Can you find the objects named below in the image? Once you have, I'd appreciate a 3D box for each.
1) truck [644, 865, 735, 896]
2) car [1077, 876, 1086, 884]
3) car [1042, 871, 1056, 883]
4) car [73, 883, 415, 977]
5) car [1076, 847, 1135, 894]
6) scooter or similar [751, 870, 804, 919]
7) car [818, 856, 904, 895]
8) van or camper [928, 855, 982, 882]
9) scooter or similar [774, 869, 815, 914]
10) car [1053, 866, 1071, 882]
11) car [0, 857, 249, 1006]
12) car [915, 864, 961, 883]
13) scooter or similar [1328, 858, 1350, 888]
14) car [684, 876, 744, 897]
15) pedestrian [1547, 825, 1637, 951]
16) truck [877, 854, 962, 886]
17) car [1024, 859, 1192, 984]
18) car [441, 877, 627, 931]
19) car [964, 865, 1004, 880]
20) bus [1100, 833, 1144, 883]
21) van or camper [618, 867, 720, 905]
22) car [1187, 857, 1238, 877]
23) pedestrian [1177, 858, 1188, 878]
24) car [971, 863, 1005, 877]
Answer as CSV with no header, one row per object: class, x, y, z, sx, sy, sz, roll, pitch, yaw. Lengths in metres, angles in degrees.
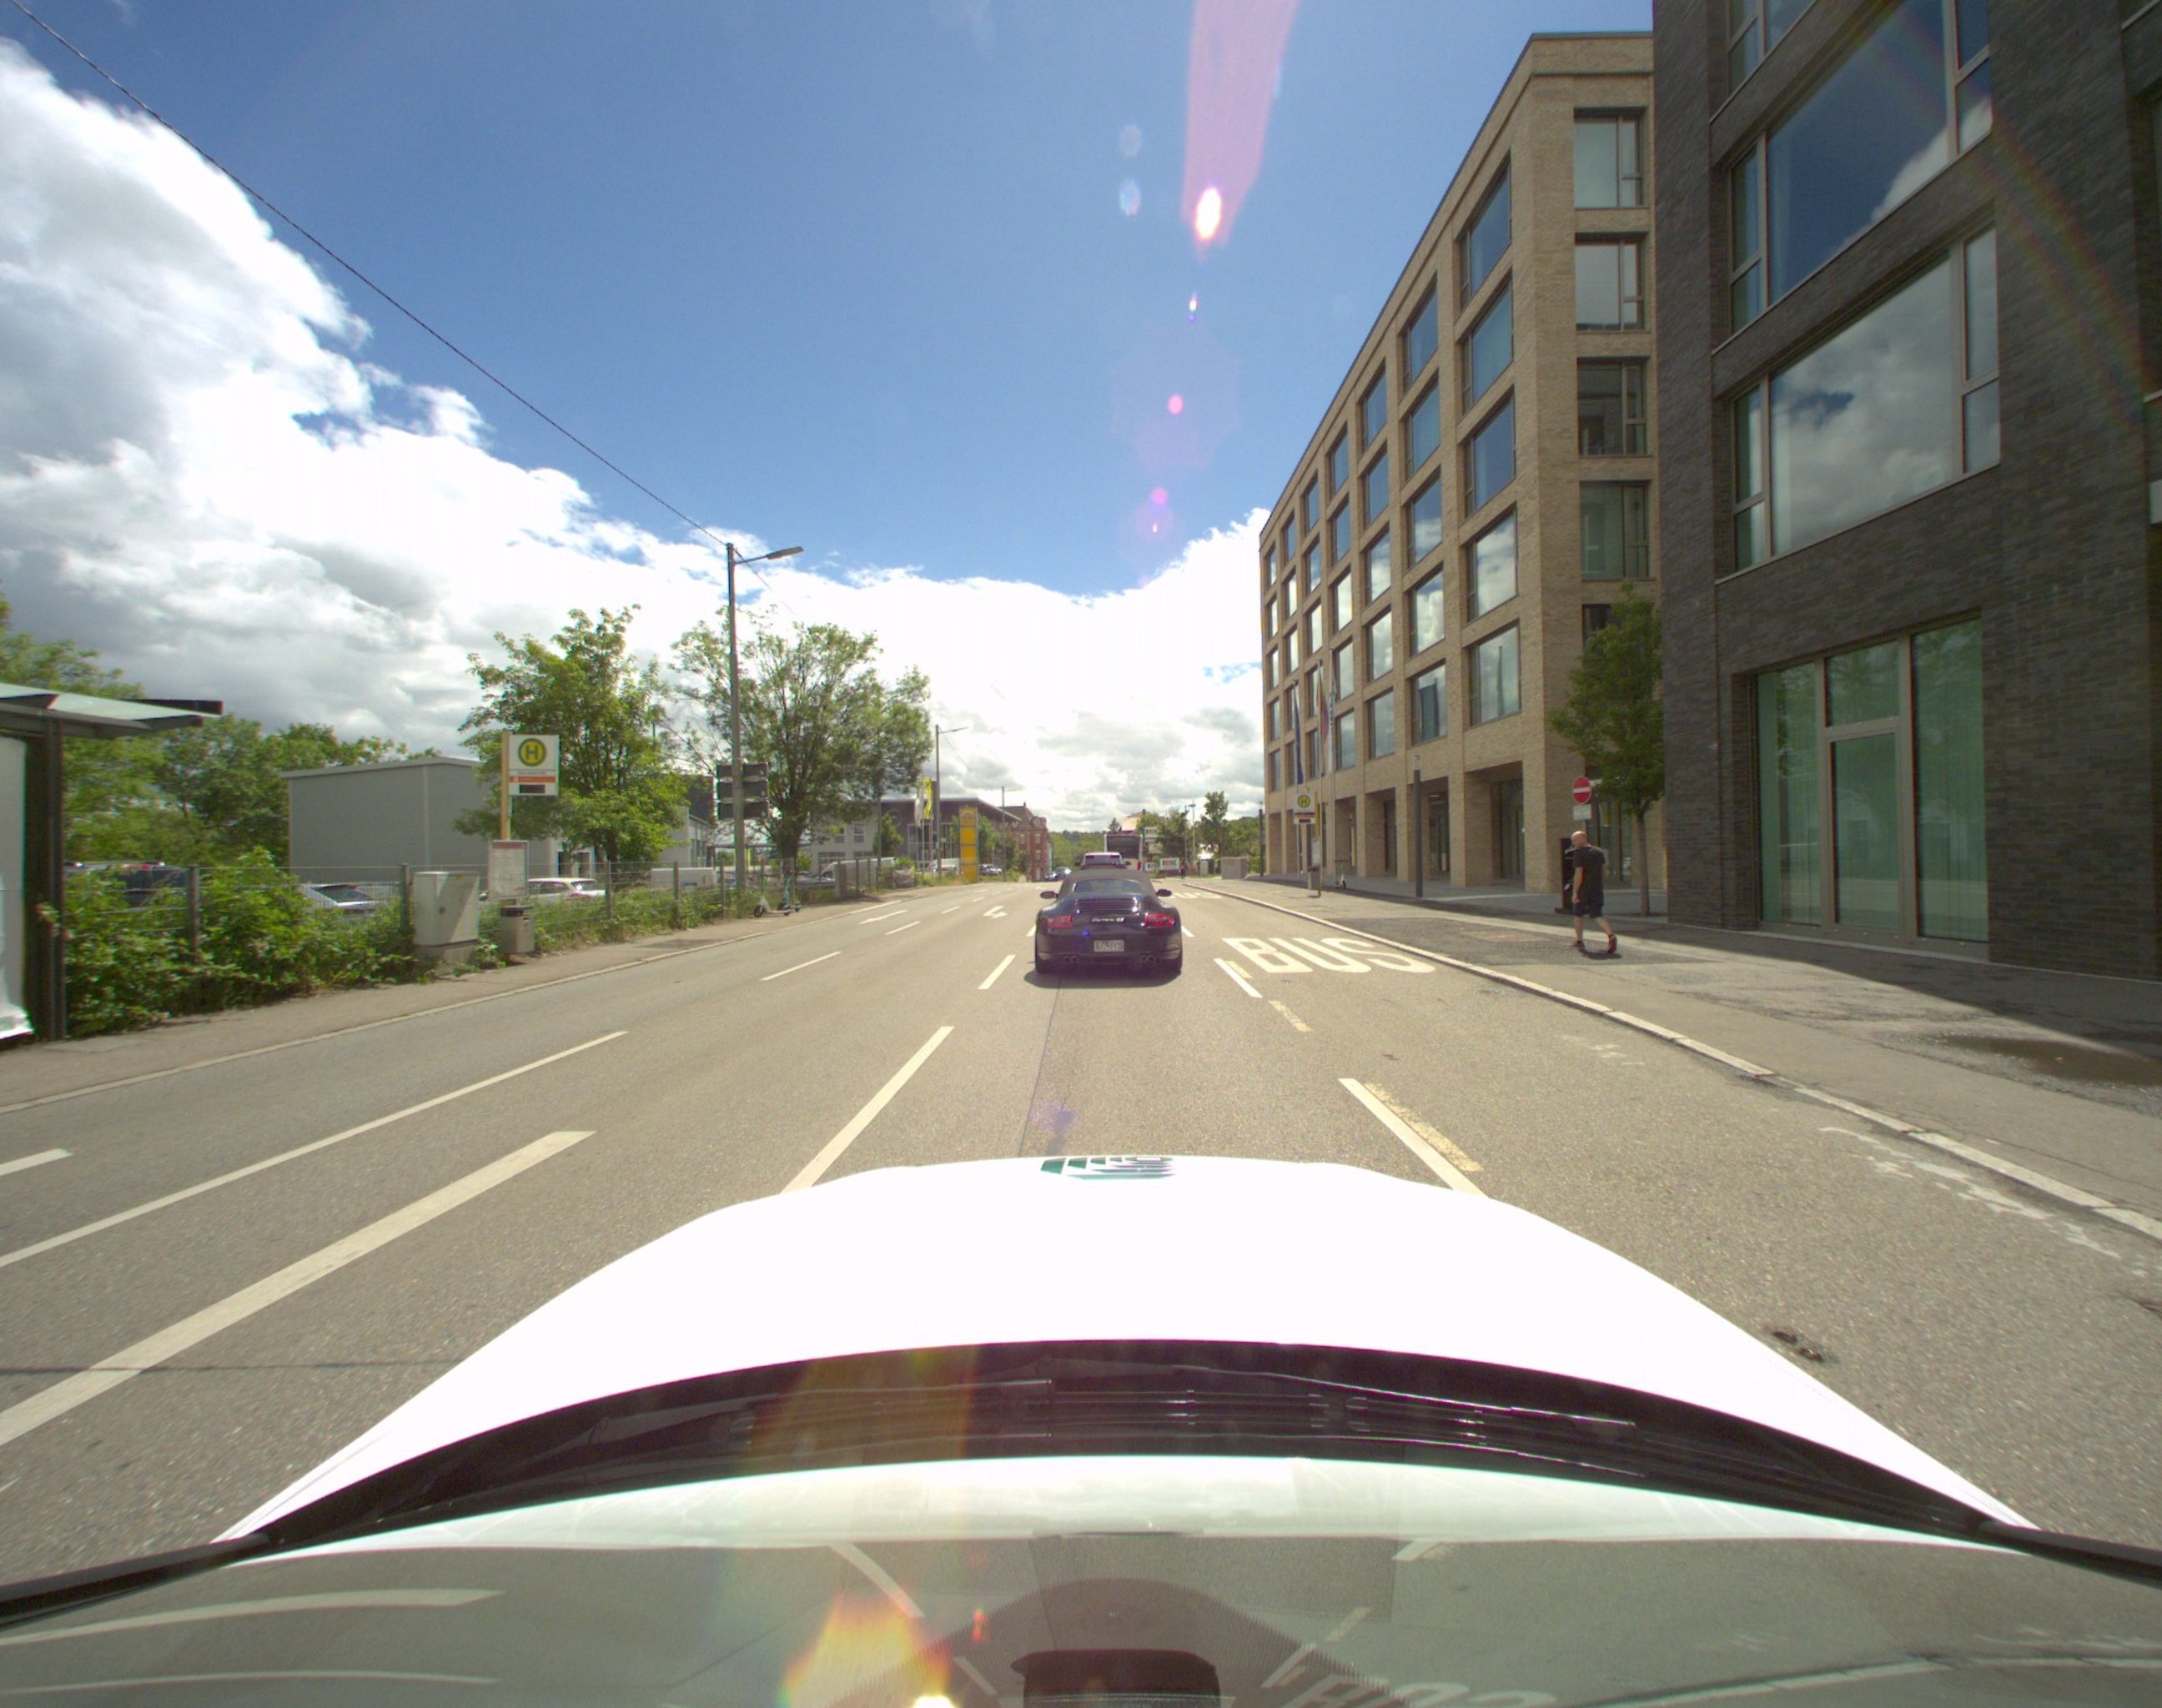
truck,-31.642,2.134,66.084,6.314,2.229,2.683,-1,-2,-20
car,0.072,5.556,176.861,1.858,1.666,4.258,-2,-2,0
car,-4.745,3.351,120.935,1.738,1.595,4.041,-4,-1,0
car,-15.842,1.390,15.663,4.273,1.487,1.905,-2,-1,-8
car,0.838,0.556,29.870,1.925,1.583,4.206,-1,0,-1
scooter or similar,-8.304,1.081,22.334,0.530,1.262,1.478,0,0,18
car,-12.142,1.160,45.251,4.149,2.013,2.197,-1,0,-2
van or camper,-12.668,1.417,82.022,5.011,2.531,2.318,-1,0,0
scooter or similar,-8.366,1.076,23.833,0.532,1.266,1.474,0,0,6
car,-2.020,2.139,86.472,1.824,1.509,4.274,-2,-2,-1
car,-15.836,1.127,12.205,4.271,2.014,2.136,-2,-1,-7
car,-13.889,1.903,79.420,3.967,1.706,2.003,-1,0,6
scooter or similar,10.239,0.727,32.380,0.425,1.153,1.403,-2,-1,1
car,-28.905,2.556,64.263,4.245,1.497,1.914,0,-2,-23
pedestrian,7.292,0.466,11.655,0.681,1.728,0.962,-1,0,0
truck,-11.997,1.196,60.924,5.847,2.148,2.474,-2,-2,-3
car,0.389,0.798,11.575,1.923,1.376,4.210,-1,0,2
car,-16.037,1.436,23.996,4.255,1.381,1.868,-2,-1,5
car,-10.736,2.066,90.649,1.877,1.450,4.862,-1,0,28
bus,3.124,0.197,58.886,2.789,3.198,12.210,-1,0,4
van or camper,-28.333,2.159,56.326,5.898,2.355,2.488,-2,0,-18
car,13.637,1.390,84.562,4.703,1.848,2.083,-3,-2,-7
pedestrian,7.605,1.048,61.055,0.685,1.536,0.856,-2,-1,0
car,-10.899,1.892,95.715,1.913,1.573,4.578,-2,-2,24
